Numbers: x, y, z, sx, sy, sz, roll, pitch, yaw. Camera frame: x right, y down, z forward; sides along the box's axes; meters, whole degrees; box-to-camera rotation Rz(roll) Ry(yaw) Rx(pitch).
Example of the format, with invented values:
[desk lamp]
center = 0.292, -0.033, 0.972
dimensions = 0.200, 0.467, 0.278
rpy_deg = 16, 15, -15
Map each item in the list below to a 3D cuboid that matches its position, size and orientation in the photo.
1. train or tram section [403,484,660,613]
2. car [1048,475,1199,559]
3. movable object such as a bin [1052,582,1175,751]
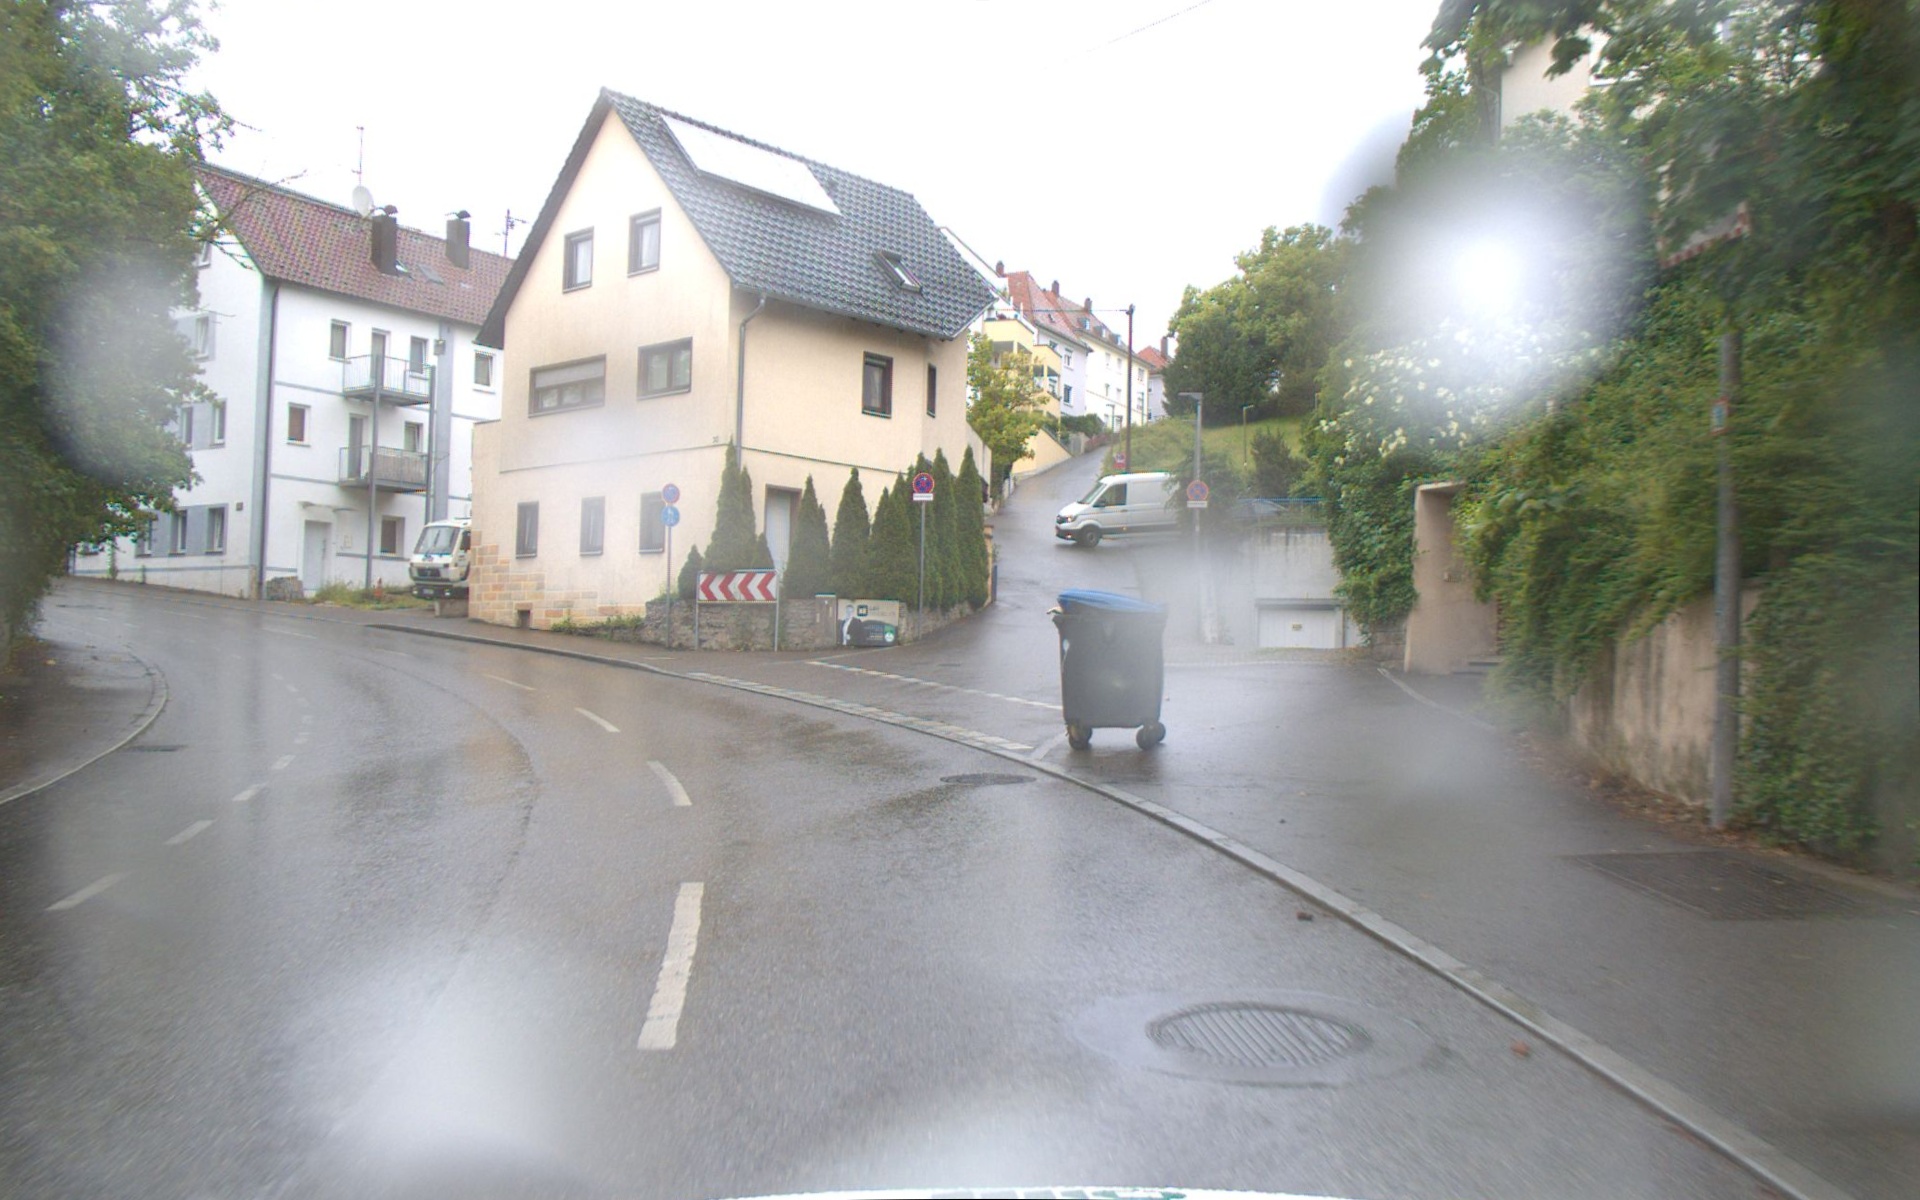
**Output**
[train or tram section]
center = -11.537, -1.314, 45.135
dimensions = 2.320, 3.259, 6.838
rpy_deg = 0, 0, 38
[car]
center = 5.547, -2.809, 56.403
dimensions = 4.844, 2.614, 1.903
rpy_deg = -2, 0, -3
[movable object such as a bin]
center = 1.436, 0.587, 15.391
dimensions = 1.058, 1.467, 1.459
rpy_deg = 1, 0, 6
